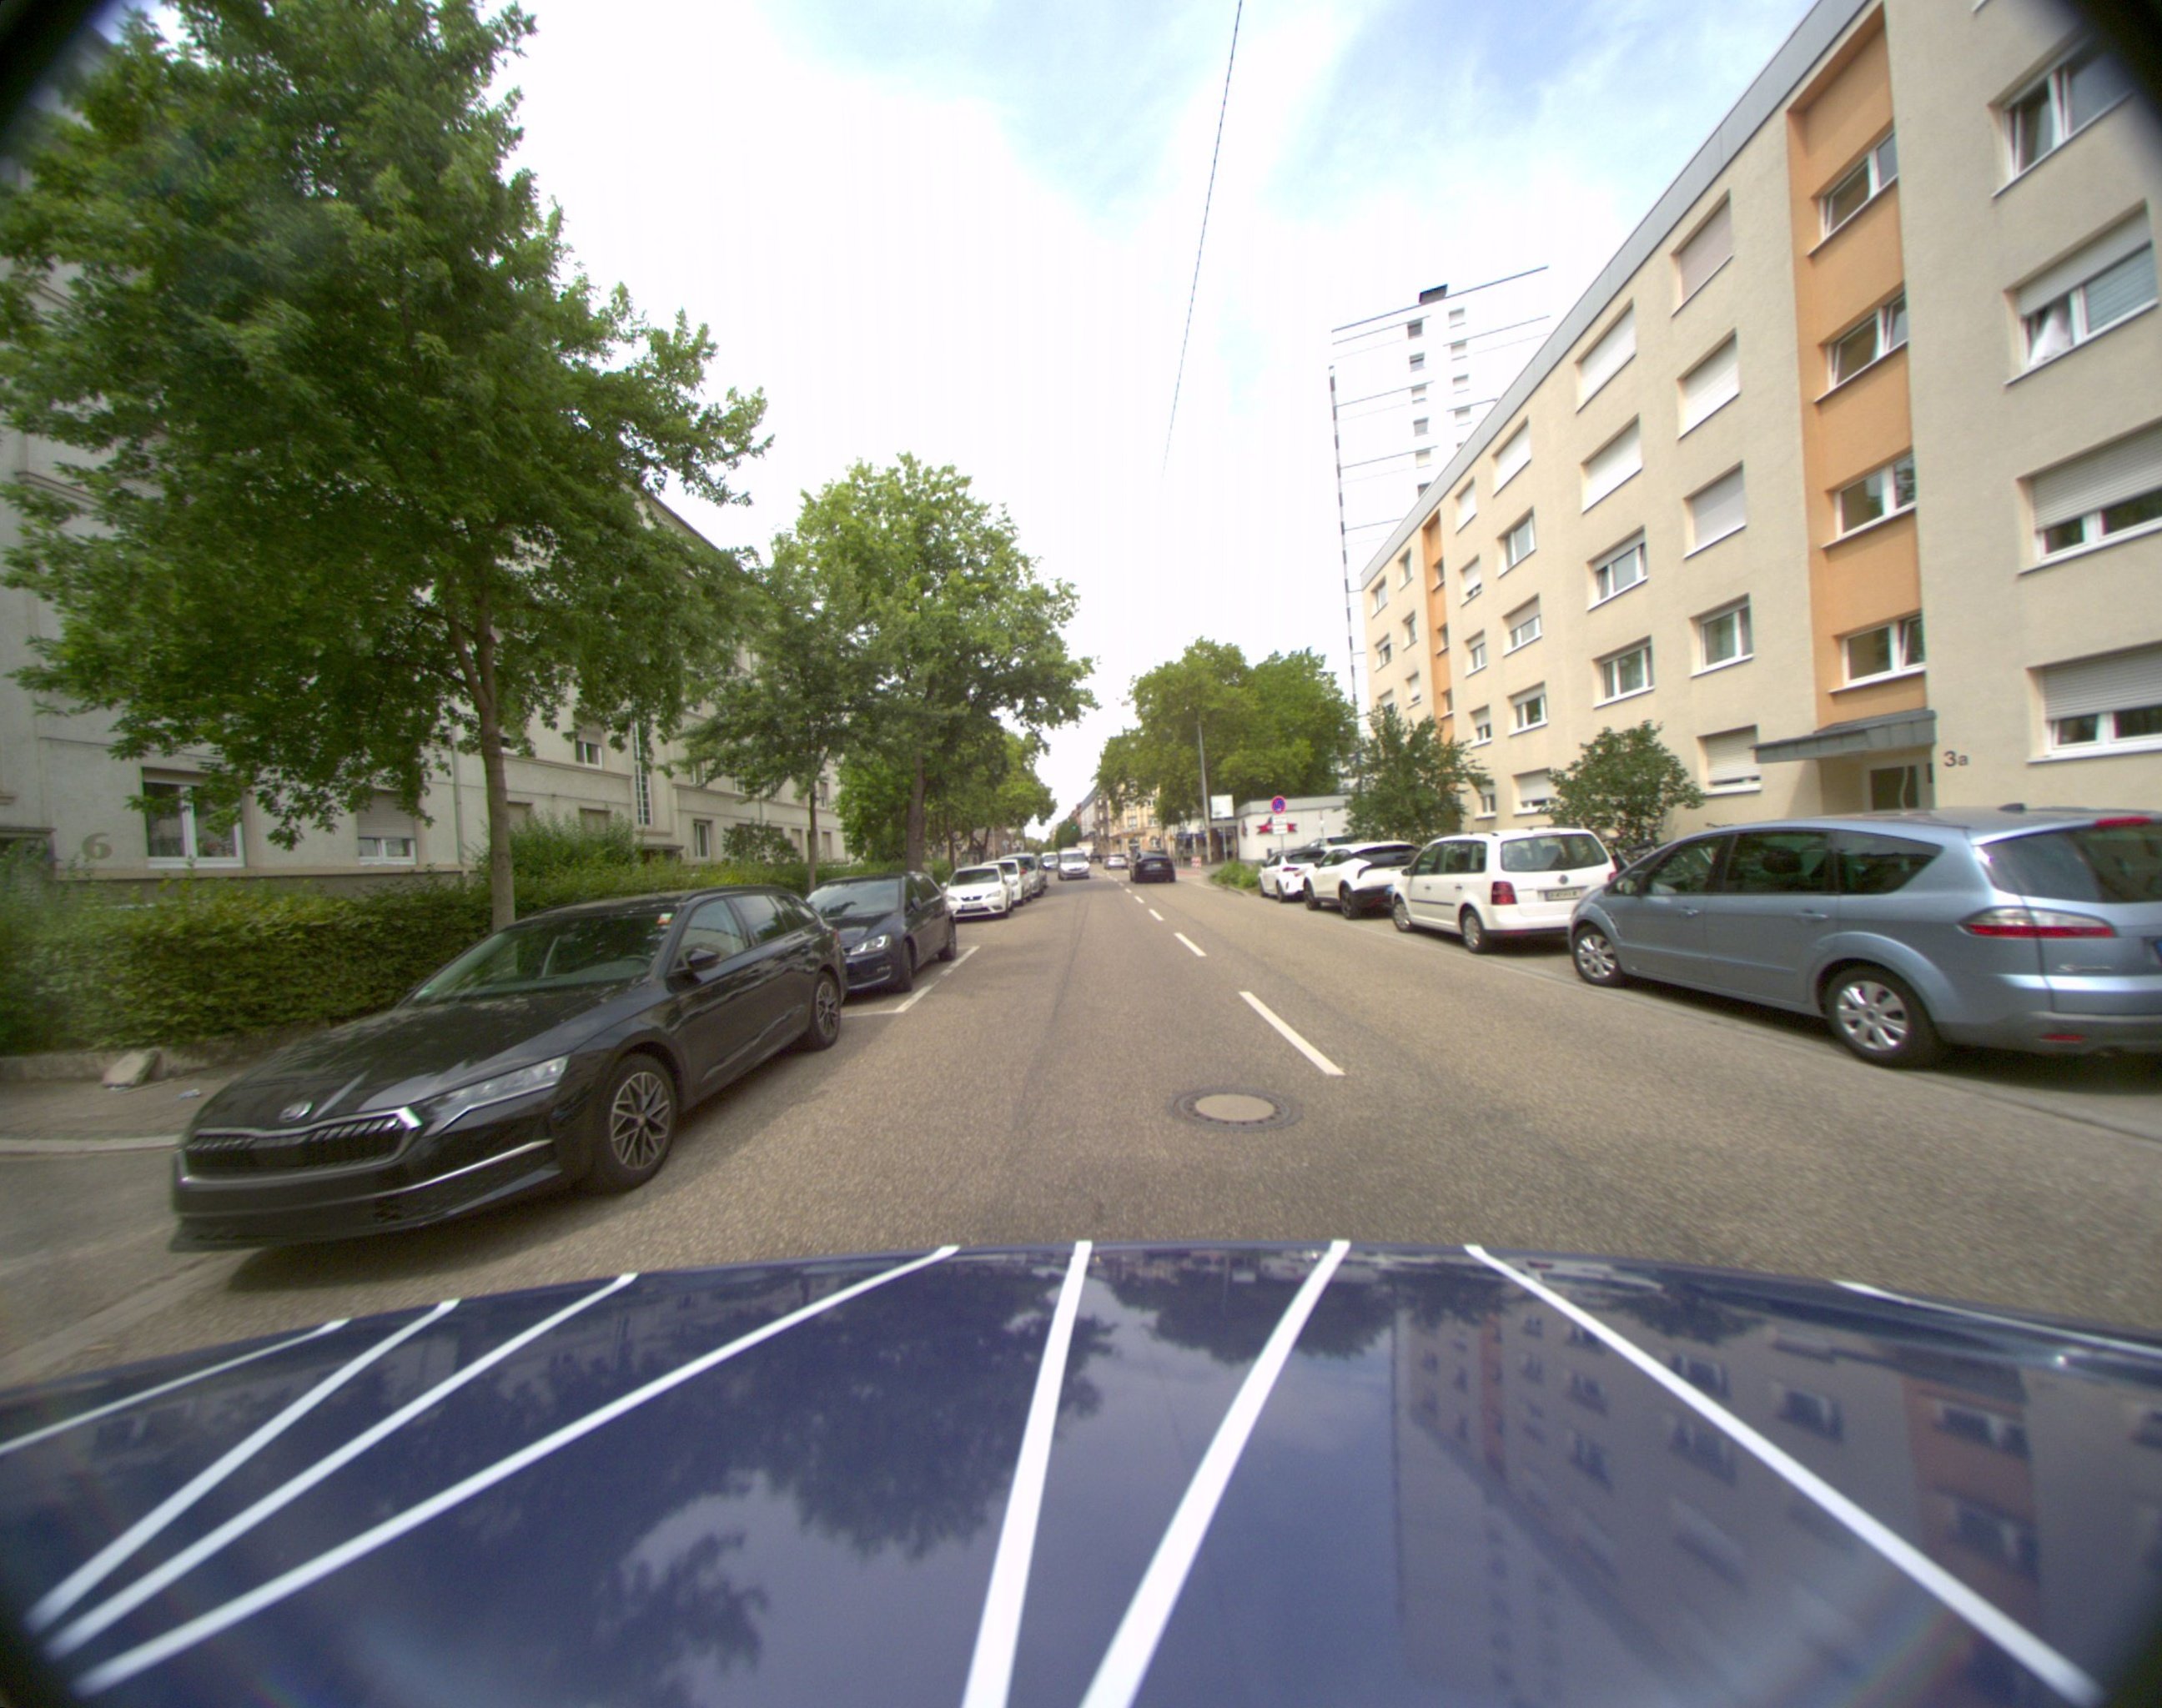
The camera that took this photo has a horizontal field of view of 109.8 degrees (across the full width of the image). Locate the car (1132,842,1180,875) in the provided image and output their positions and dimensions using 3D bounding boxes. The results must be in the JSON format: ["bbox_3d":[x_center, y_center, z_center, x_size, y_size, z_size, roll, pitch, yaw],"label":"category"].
[{"bbox_3d":[3.614,0.185,37.461,1.956,1.512,4.613,-1,1,1],"label":"car"}]

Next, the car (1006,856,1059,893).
[{"bbox_3d":[-2.182,0.900,35.382,1.922,1.436,4.239,-5,1,2],"label":"car"}]

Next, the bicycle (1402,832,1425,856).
[{"bbox_3d":[14.955,-0.455,34.211,0.412,1.032,1.805,-3,1,8],"label":"bicycle"}]

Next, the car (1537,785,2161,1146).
[{"bbox_3d":[5.918,0.434,5.864,1.947,1.603,4.861,-5,1,2],"label":"car"}]

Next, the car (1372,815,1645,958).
[{"bbox_3d":[6.036,0.371,11.455,1.701,1.603,4.478,-5,1,3],"label":"car"}]

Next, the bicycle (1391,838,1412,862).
[{"bbox_3d":[14.406,-0.197,34.199,0.412,1.032,1.806,-3,1,10],"label":"bicycle"}]

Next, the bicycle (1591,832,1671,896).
[{"bbox_3d":[11.613,0.204,16.115,0.580,1.243,1.935,-3,0,11],"label":"bicycle"}]

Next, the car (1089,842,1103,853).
[{"bbox_3d":[2.060,-0.903,105.225,1.701,1.509,4.000,-2,0,0],"label":"car"}]

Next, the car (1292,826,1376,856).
[{"bbox_3d":[15.688,-0.789,47.245,4.640,1.676,1.850,-2,0,7],"label":"car"}]

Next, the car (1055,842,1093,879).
[{"bbox_3d":[-0.506,0.379,46.812,2.082,2.039,4.679,-3,0,-2],"label":"car"}]

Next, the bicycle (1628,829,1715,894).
[{"bbox_3d":[12.370,0.145,16.000,0.537,1.243,2.046,-3,0,11],"label":"bicycle"}]

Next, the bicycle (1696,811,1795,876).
[{"bbox_3d":[13.739,-0.203,15.779,0.556,1.243,1.919,-3,0,9],"label":"bicycle"}]

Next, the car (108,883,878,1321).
[{"bbox_3d":[-3.020,1.110,5.390,1.701,1.461,4.559,-5,0,2],"label":"car"}]

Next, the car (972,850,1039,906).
[{"bbox_3d":[-2.463,0.757,25.691,1.608,1.598,3.804,-5,1,2],"label":"car"}]

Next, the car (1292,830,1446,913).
[{"bbox_3d":[6.141,0.318,16.720,1.713,1.464,3.988,-5,1,-1],"label":"car"}]

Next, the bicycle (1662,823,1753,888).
[{"bbox_3d":[13.036,0.025,15.887,0.564,1.243,1.964,-3,0,11],"label":"bicycle"}]

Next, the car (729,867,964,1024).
[{"bbox_3d":[-2.862,1.037,10.296,1.701,1.461,4.101,-5,0,2],"label":"car"}]

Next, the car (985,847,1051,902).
[{"bbox_3d":[-2.405,0.733,30.242,1.922,1.854,4.846,-5,1,2],"label":"car"}]

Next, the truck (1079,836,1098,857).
[{"bbox_3d":[1.159,-1.158,121.355,2.548,3.089,7.018,-2,0,-2],"label":"truck"}]

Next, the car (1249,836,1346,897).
[{"bbox_3d":[6.164,0.311,22.049,1.712,1.464,3.989,-5,1,2],"label":"car"}]

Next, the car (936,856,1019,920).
[{"bbox_3d":[-2.754,0.853,21.052,1.701,1.441,4.100,-4,0,-1],"label":"car"}]

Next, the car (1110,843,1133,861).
[{"bbox_3d":[3.470,-0.165,65.939,1.848,1.442,4.185,-2,0,1],"label":"car"}]
